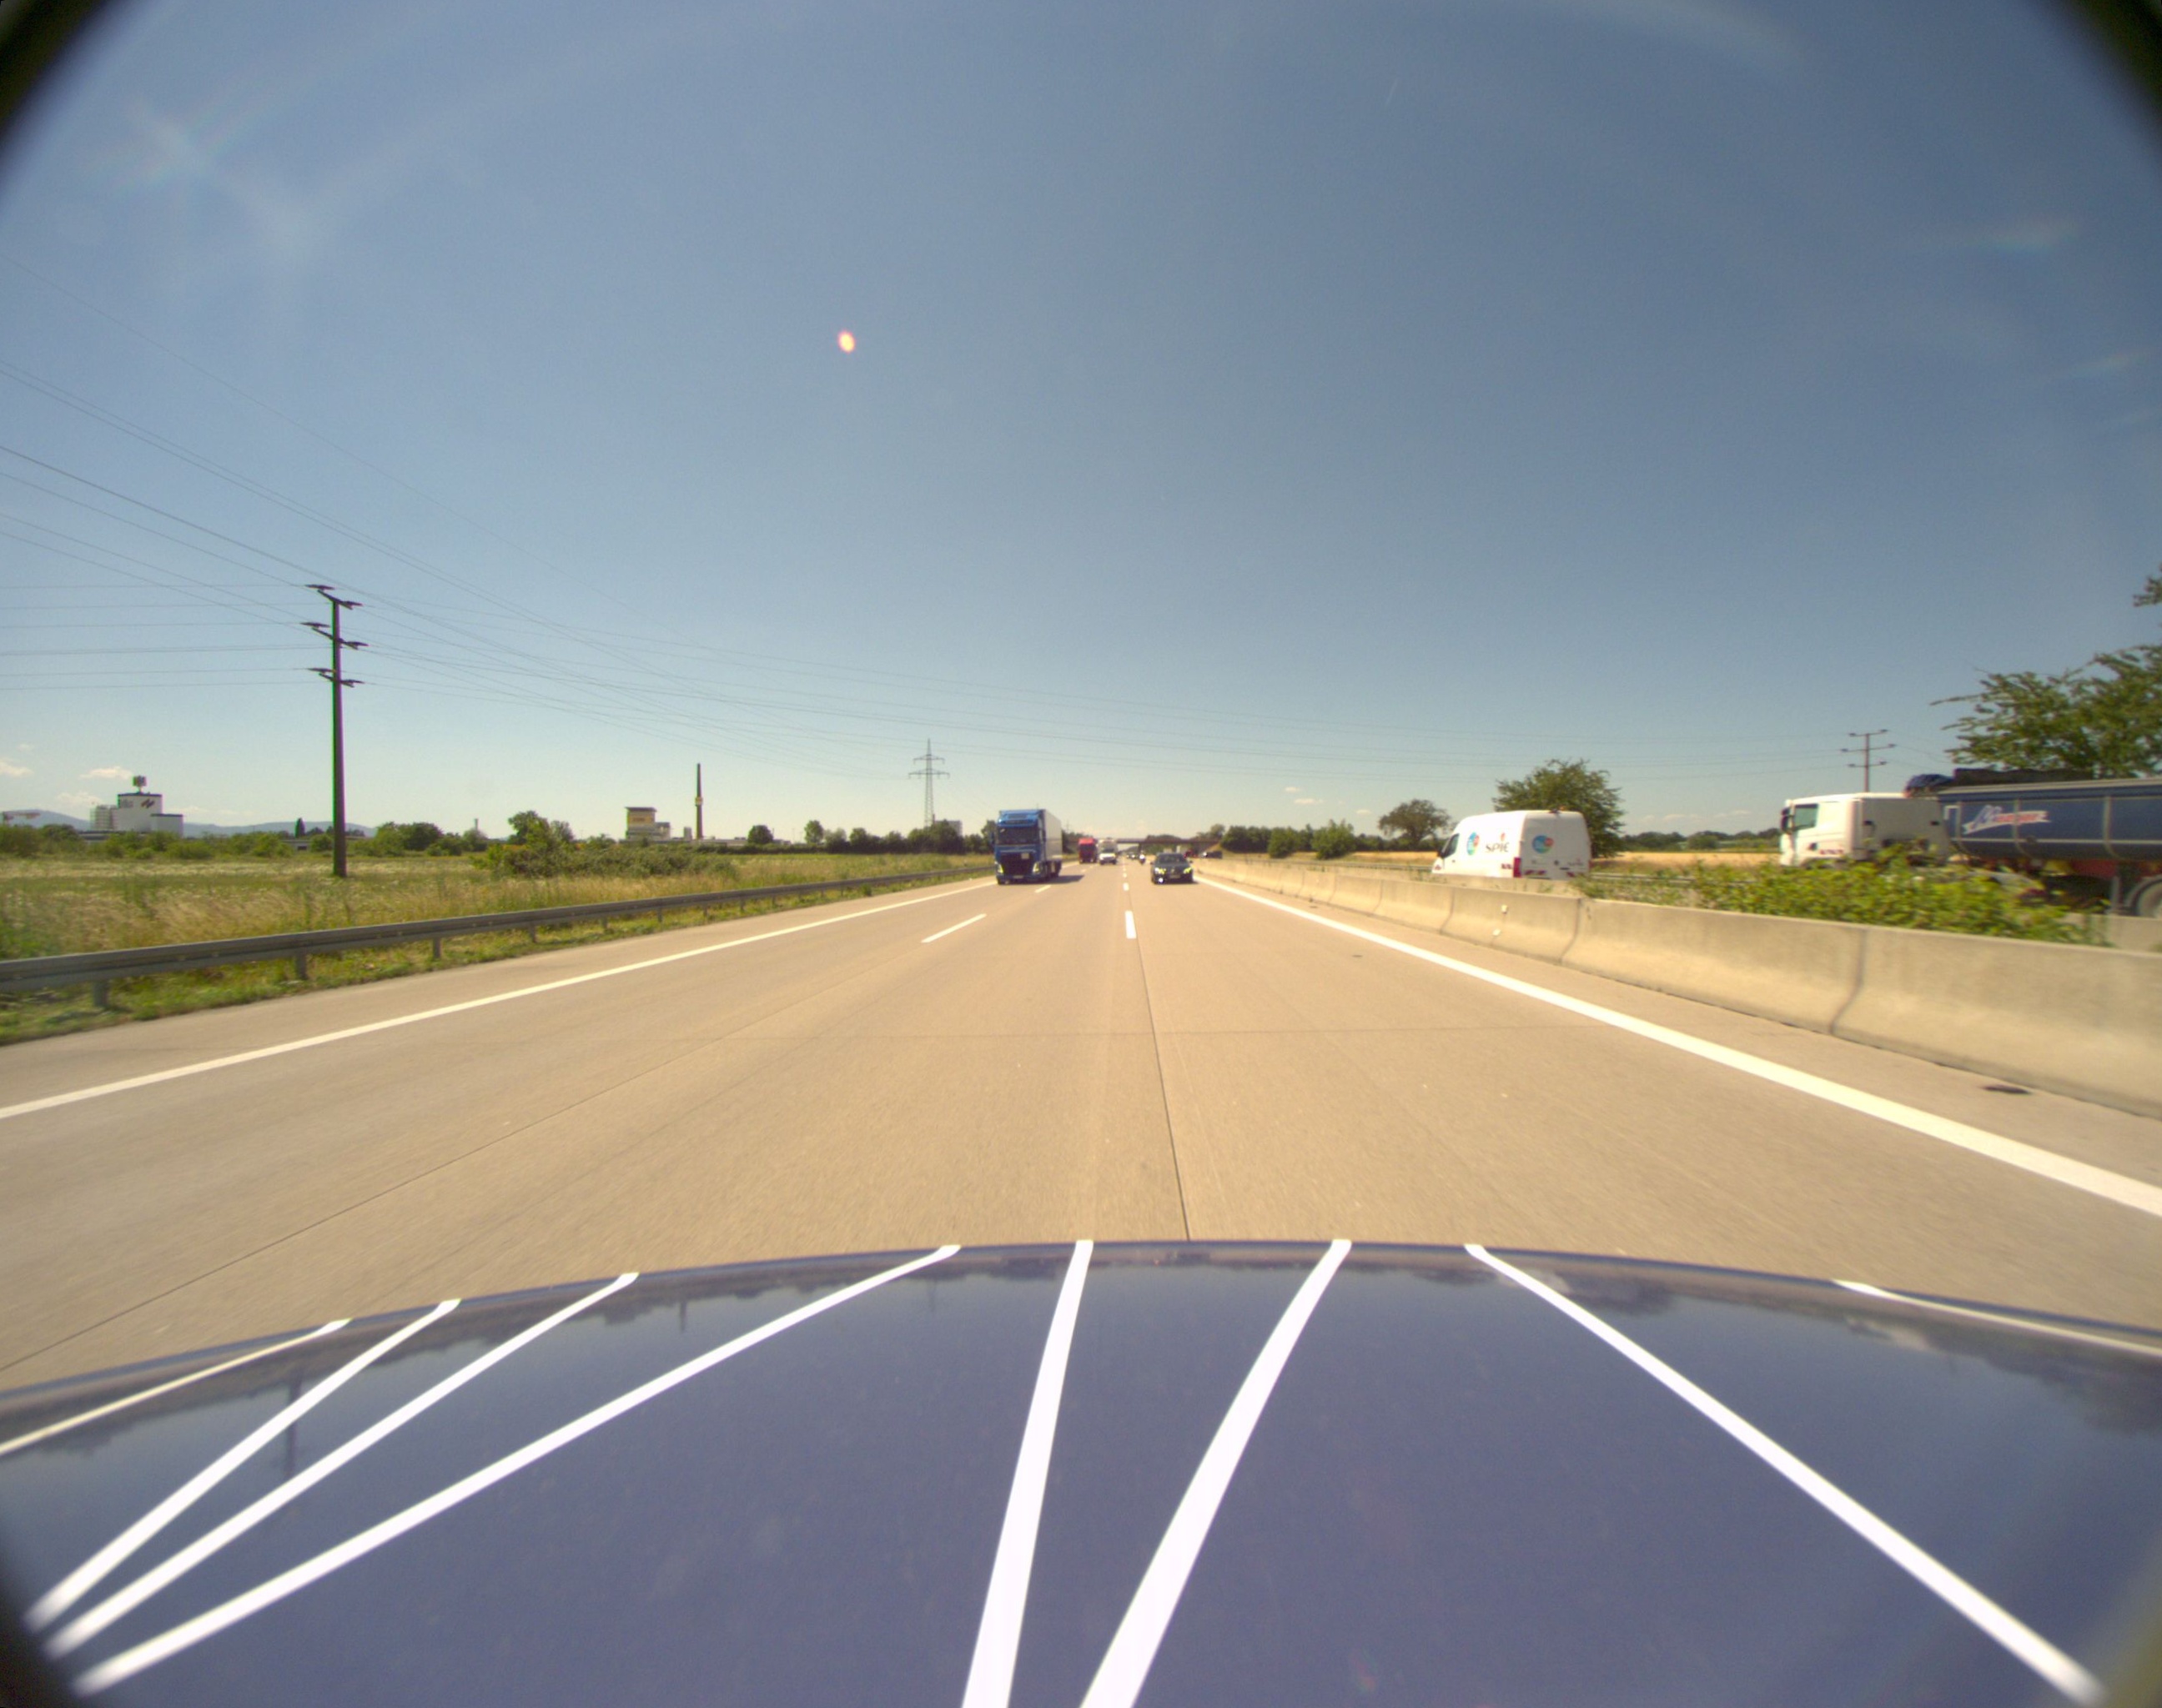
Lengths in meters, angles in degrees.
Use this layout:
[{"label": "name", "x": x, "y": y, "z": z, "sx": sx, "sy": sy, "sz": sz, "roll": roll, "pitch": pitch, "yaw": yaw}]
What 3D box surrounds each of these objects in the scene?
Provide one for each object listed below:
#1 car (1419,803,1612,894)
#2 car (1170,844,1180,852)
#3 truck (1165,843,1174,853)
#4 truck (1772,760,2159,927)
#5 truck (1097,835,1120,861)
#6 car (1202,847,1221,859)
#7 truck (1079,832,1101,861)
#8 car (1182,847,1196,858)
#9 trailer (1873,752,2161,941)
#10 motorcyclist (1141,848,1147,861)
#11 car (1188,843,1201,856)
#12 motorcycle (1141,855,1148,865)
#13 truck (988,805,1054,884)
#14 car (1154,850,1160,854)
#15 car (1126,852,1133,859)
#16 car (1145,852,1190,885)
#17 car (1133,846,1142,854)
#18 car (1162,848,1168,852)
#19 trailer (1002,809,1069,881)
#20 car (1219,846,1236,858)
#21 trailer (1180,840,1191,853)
[{"label": "car", "x": 12.243, "y": -0.159, "z": 22.097, "sx": 2.215, "sy": 2.176, "sz": 6.326, "roll": -2, "pitch": 0, "yaw": 3}, {"label": "car", "x": 21.173, "y": -1.366, "z": 171.925, "sx": 1.877, "sy": 1.643, "sz": 5.108, "roll": -2, "pitch": 0, "yaw": 3}, {"label": "truck", "x": 29.969, "y": -1.991, "z": 257.146, "sx": 2.553, "sy": 3.124, "sz": 7.924, "roll": -1, "pitch": 0, "yaw": 3}, {"label": "truck", "x": 20.497, "y": -0.217, "z": 18.226, "sx": 2.813, "sy": 3.285, "sz": 5.614, "roll": -2, "pitch": 0, "yaw": 3}, {"label": "truck", "x": 3.718, "y": -0.793, "z": 101.303, "sx": 2.783, "sy": 3.328, "sz": 7.814, "roll": -2, "pitch": 0, "yaw": 4}, {"label": "car", "x": 17.274, "y": -0.160, "z": 100.763, "sx": 1.998, "sy": 1.440, "sz": 4.683, "roll": -2, "pitch": 0, "yaw": 3}, {"label": "truck", "x": 1.571, "y": -1.199, "z": 123.701, "sx": 2.855, "sy": 4.298, "sz": 10.888, "roll": -2, "pitch": 0, "yaw": 4}, {"label": "car", "x": 18.760, "y": -0.346, "z": 132.561, "sx": 1.998, "sy": 1.815, "sz": 5.826, "roll": -2, "pitch": 0, "yaw": 4}, {"label": "trailer", "x": 20.239, "y": -0.179, "z": 13.466, "sx": 2.834, "sy": 3.285, "sz": 9.464, "roll": -2, "pitch": 0, "yaw": 3}, {"label": "motorcyclist", "x": 7.555, "y": 0.071, "z": 90.887, "sx": 0.672, "sy": 1.552, "sz": 0.775, "roll": -2, "pitch": 1, "yaw": 2}, {"label": "car", "x": 25.034, "y": -1.062, "z": 167.477, "sx": 2.253, "sy": 2.770, "sz": 6.793, "roll": -2, "pitch": 0, "yaw": 4}, {"label": "motorcycle", "x": 7.584, "y": 0.705, "z": 90.901, "sx": 0.683, "sy": 1.046, "sz": 2.065, "roll": -2, "pitch": 0, "yaw": 2}, {"label": "truck", "x": -3.212, "y": -0.521, "z": 42.325, "sx": 2.756, "sy": 4.020, "sz": 5.467, "roll": -2, "pitch": 1, "yaw": 3}, {"label": "car", "x": 26.674, "y": -0.781, "z": 266.585, "sx": 1.850, "sy": 1.343, "sz": 4.495, "roll": 0, "pitch": 0, "yaw": 4}, {"label": "car", "x": 12.216, "y": 0.370, "z": 190.833, "sx": 1.682, "sy": 1.444, "sz": 3.565, "roll": -2, "pitch": 0, "yaw": 4}, {"label": "car", "x": 4.186, "y": 0.659, "z": 37.764, "sx": 1.998, "sy": 1.462, "sz": 6.349, "roll": 0, "pitch": 0, "yaw": 4}, {"label": "car", "x": 11.051, "y": -0.801, "z": 148.669, "sx": 1.557, "sy": 1.440, "sz": 3.777, "roll": -2, "pitch": 0, "yaw": 5}, {"label": "car", "x": 24.295, "y": -1.113, "z": 219.987, "sx": 1.524, "sy": 1.047, "sz": 3.524, "roll": -2, "pitch": 0, "yaw": 5}, {"label": "trailer", "x": -2.739, "y": -0.584, "z": 50.014, "sx": 2.715, "sy": 4.020, "sz": 12.904, "roll": -2, "pitch": 0, "yaw": 3}, {"label": "car", "x": 24.879, "y": -0.341, "z": 129.165, "sx": 2.175, "sy": 1.779, "sz": 4.001, "roll": -2, "pitch": 0, "yaw": 4}, {"label": "trailer", "x": 33.872, "y": -2.365, "z": 246.970, "sx": 2.826, "sy": 4.021, "sz": 12.680, "roll": -2, "pitch": 0, "yaw": 5}]
